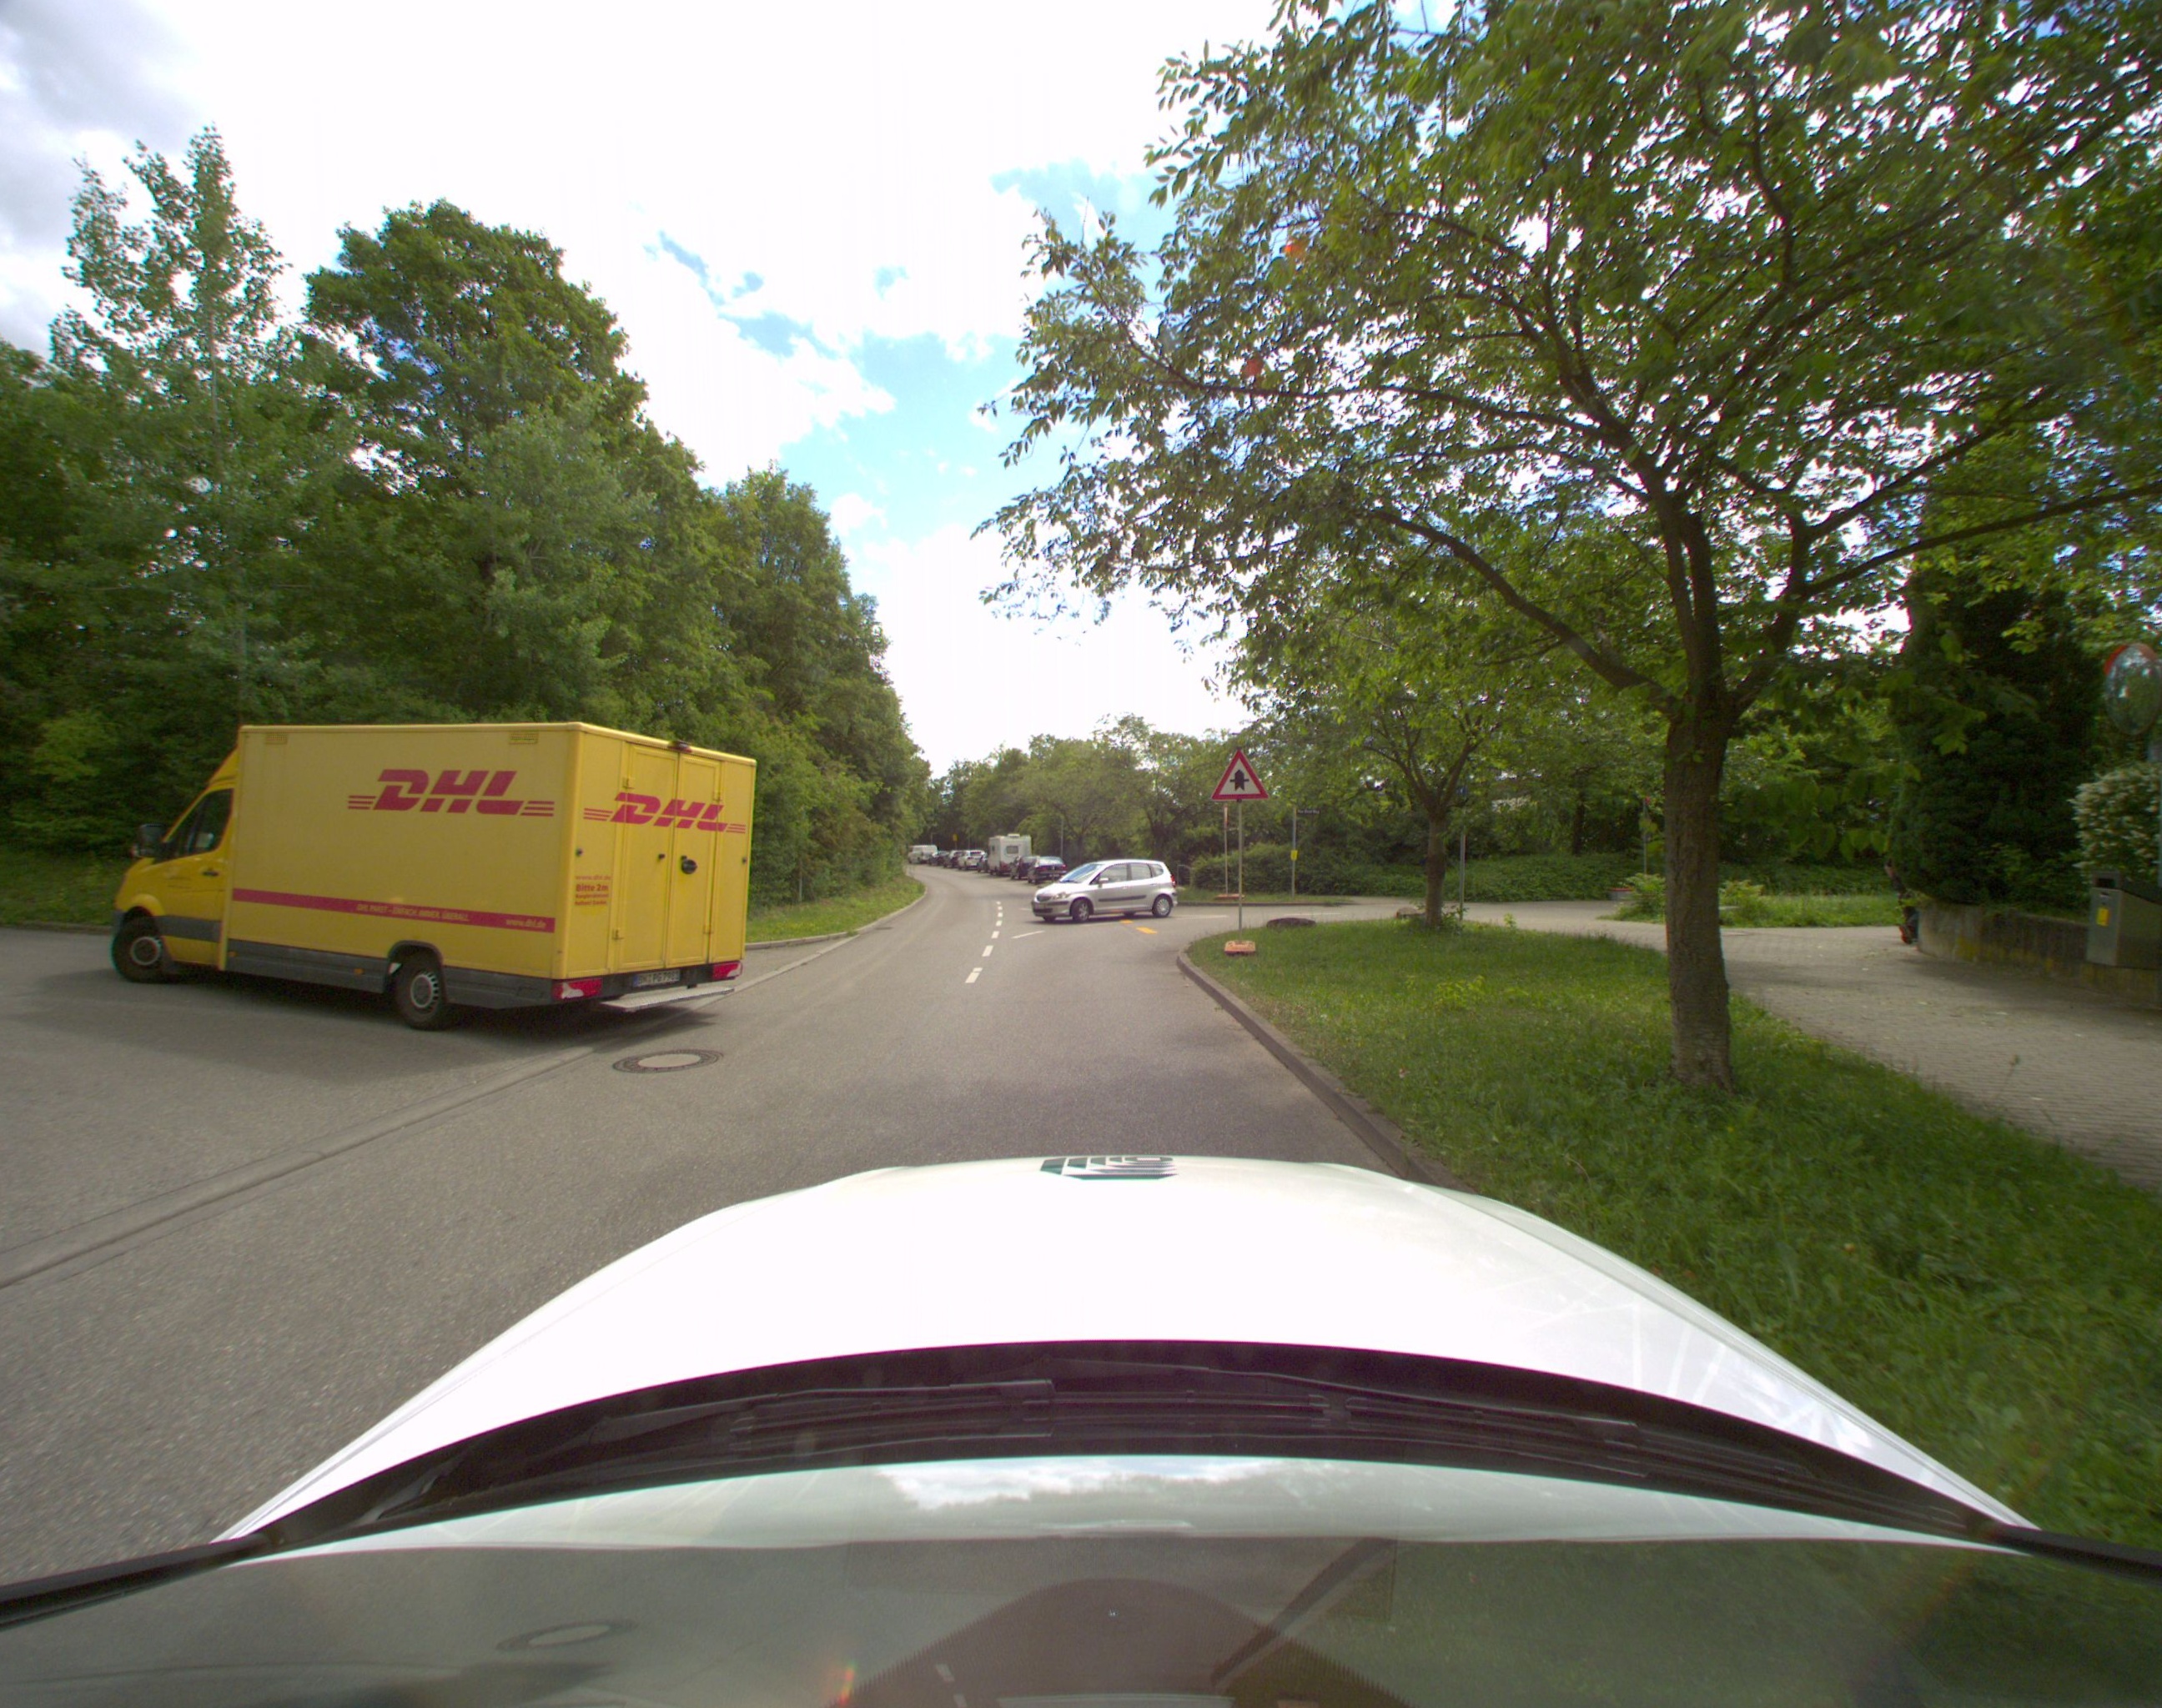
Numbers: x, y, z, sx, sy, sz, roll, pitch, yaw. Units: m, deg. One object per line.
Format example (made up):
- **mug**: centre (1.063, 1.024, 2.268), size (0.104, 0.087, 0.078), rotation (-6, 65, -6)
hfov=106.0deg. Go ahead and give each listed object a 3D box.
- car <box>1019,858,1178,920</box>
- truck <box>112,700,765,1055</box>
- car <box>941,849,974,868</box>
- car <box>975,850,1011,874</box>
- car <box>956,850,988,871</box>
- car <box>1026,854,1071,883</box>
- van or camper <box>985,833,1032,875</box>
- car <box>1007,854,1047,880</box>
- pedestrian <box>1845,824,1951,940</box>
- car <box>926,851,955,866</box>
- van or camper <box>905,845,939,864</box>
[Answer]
- **car**: centre (0.464, 0.837, 20.754), size (3.665, 1.456, 1.828), rotation (0, -1, -32)
- **truck**: centre (-6.805, 0.048, 8.594), size (6.496, 2.808, 2.244), rotation (3, 1, 20)
- **car**: centre (-11.663, 0.396, 76.582), size (2.002, 1.626, 4.246), rotation (-4, 3, -22)
- **car**: centre (-7.016, 0.587, 64.515), size (1.717, 1.591, 3.973), rotation (-8, 3, -20)
- **car**: centre (-9.521, 0.526, 71.034), size (1.878, 1.689, 4.549), rotation (0, 1, -20)
- **car**: centre (-1.814, 0.748, 44.240), size (1.777, 1.434, 4.317), rotation (-2, 1, -11)
- **van or camper**: centre (-5.303, -0.021, 58.704), size (2.337, 2.869, 6.118), rotation (0, 0, -15)
- **car**: centre (-3.434, 0.818, 51.244), size (1.732, 1.519, 3.868), rotation (-2, -1, -15)
- **pedestrian**: centre (12.691, 0.429, 12.675), size (0.830, 1.737, 0.785), rotation (0, -1, -1)
- **car**: centre (-14.305, 0.409, 82.986), size (1.807, 1.464, 3.965), rotation (-1, 1, -27)
- **van or camper**: centre (-17.231, 0.043, 88.068), size (2.006, 1.919, 5.215), rotation (-3, 2, -30)
